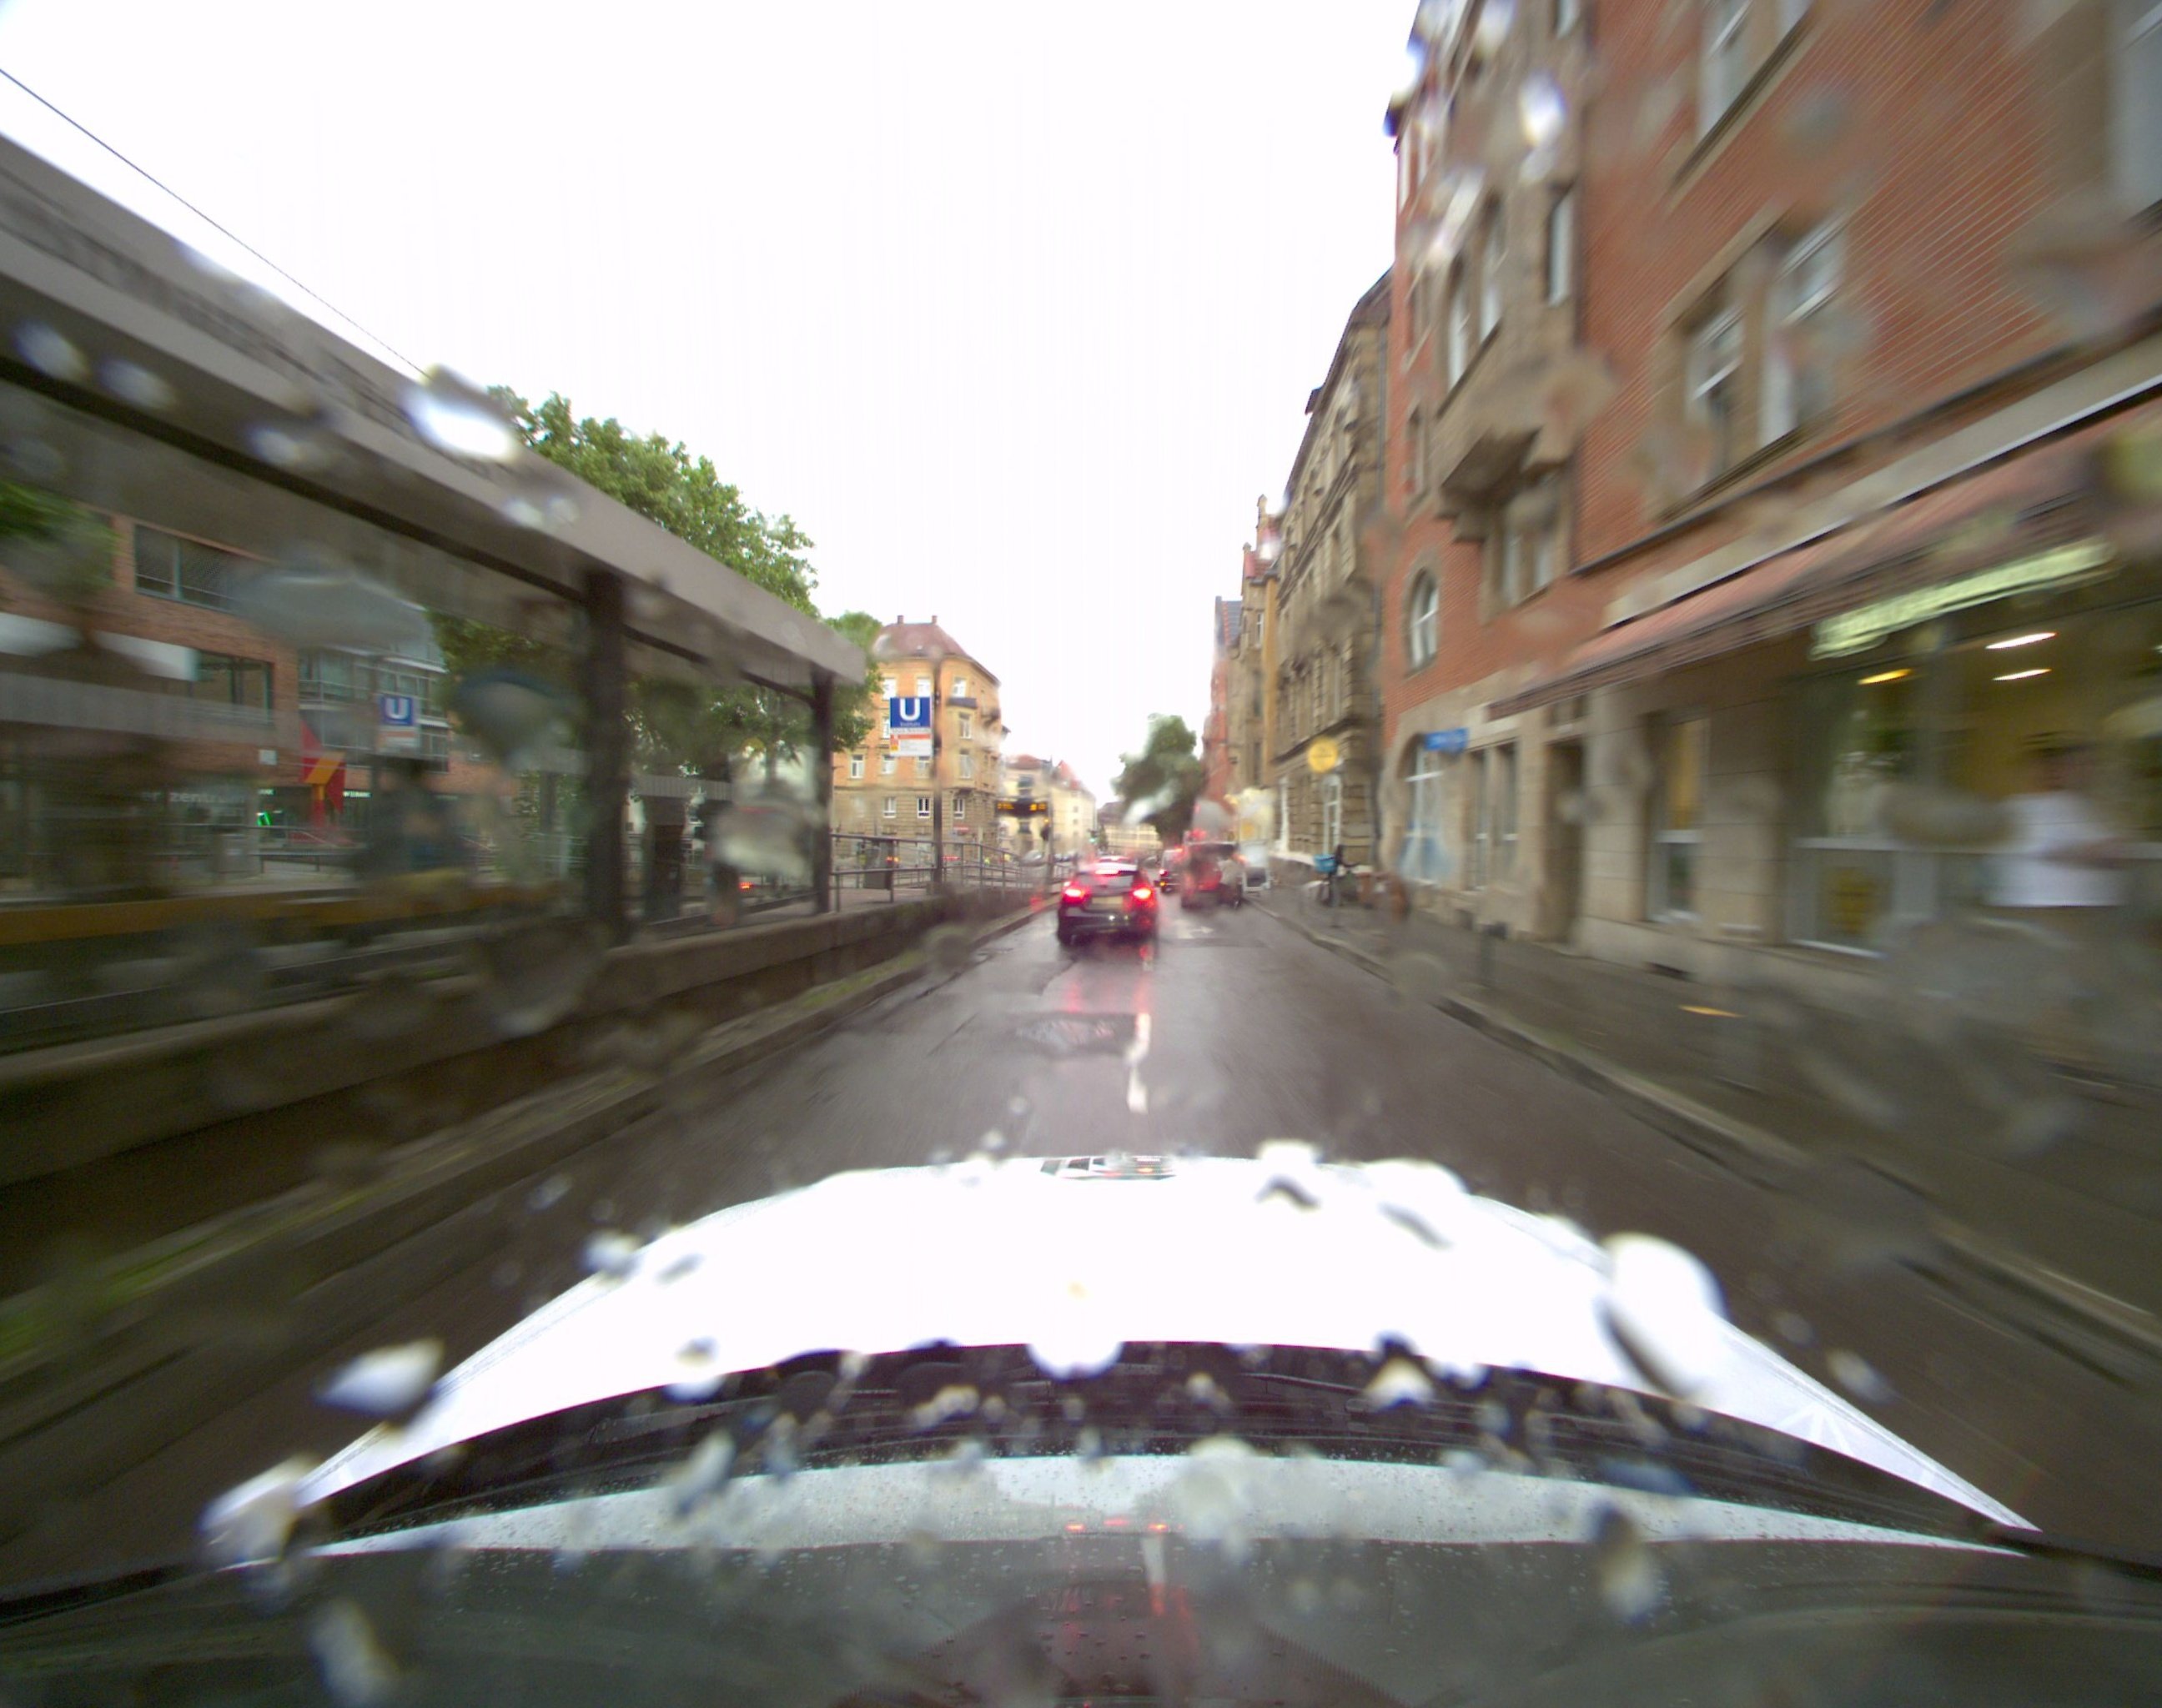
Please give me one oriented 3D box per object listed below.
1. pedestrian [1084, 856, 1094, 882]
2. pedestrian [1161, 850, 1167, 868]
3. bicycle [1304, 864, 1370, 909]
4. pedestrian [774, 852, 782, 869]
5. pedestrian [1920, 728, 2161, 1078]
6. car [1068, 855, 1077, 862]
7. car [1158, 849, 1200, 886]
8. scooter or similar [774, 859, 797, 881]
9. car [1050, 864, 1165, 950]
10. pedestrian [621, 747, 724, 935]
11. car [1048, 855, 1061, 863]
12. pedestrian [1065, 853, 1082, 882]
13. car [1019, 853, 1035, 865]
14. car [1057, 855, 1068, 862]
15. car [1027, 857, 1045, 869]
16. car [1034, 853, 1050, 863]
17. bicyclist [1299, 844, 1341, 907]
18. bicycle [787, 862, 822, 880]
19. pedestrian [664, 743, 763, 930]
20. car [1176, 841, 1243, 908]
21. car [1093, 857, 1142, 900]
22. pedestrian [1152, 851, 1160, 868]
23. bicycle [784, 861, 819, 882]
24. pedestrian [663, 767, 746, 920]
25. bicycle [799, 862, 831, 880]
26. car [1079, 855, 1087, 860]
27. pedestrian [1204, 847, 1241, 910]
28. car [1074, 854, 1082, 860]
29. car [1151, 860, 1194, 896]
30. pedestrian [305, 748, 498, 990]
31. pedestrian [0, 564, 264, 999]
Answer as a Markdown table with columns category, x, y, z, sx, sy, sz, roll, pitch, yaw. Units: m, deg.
| category | x | y | z | sx | sy | sz | roll | pitch | yaw |
| --- | --- | --- | --- | --- | --- | --- | --- | --- | --- |
| pedestrian | 0.469 | 0.899 | 48.147 | 0.530 | 1.530 | 0.436 | 0 | 0 | -3 |
| pedestrian | 7.863 | 0.492 | 76.795 | 0.515 | 1.666 | 0.478 | 1 | 0 | 8 |
| bicycle | 6.726 | 0.835 | 21.371 | 1.688 | 1.115 | 0.462 | -1 | -1 | -18 |
| pedestrian | -28.105 | 0.593 | 75.507 | 0.520 | 1.622 | 0.481 | 1 | 0 | -34 |
| pedestrian | 5.400 | 0.264 | 4.616 | 0.575 | 1.830 | 0.564 | -3 | -2 | 2 |
| car | -1.633 | 0.829 | 154.364 | 1.388 | 1.171 | 3.167 | 0 | 0 | 6 |
| car | 5.154 | 0.681 | 43.456 | 1.925 | 1.831 | 4.284 | 0 | 0 | 3 |
| scooter or similar | -16.279 | 0.859 | 44.864 | 0.357 | 1.195 | 1.119 | 0 | 0 | 44 |
| car | 0.635 | 0.899 | 15.570 | 1.885 | 1.390 | 4.007 | 0 | 0 | 6 |
| pedestrian | -3.573 | -0.111 | 7.147 | 0.610 | 1.581 | 0.508 | 0 | 0 | 8 |
| car | -4.014 | 0.743 | 123.398 | 1.430 | 1.106 | 3.167 | 0 | 0 | 6 |
| pedestrian | -0.441 | 0.797 | 48.466 | 0.744 | 1.724 | 0.732 | 1 | -1 | -38 |
| car | -6.451 | 0.606 | 97.853 | 1.445 | 1.318 | 3.299 | 1 | 0 | 4 |
| car | -3.089 | 0.810 | 136.928 | 1.388 | 1.171 | 3.167 | 0 | 0 | 6 |
| car | -5.810 | 1.142 | 104.736 | 1.778 | 1.530 | 4.467 | 0 | 0 | 4 |
| car | -5.318 | 0.575 | 110.876 | 1.672 | 1.356 | 3.709 | 0 | 0 | 6 |
| bicyclist | 6.387 | 0.568 | 21.768 | 0.849 | 1.657 | 0.628 | -1 | -1 | -17 |
| bicycle | -16.248 | 1.012 | 47.847 | 1.868 | 1.061 | 0.517 | 0 | 0 | -7 |
| pedestrian | -3.453 | -0.162 | 7.689 | 0.610 | 1.688 | 0.588 | 0 | 0 | 9 |
| car | 4.025 | 0.608 | 26.094 | 1.911 | 1.936 | 4.694 | 0 | 0 | 6 |
| car | 1.374 | 0.853 | 30.029 | 1.672 | 1.489 | 3.616 | 0 | 0 | 3 |
| pedestrian | 7.017 | 0.509 | 76.075 | 0.674 | 1.661 | 0.678 | 0 | 0 | 12 |
| bicycle | -16.071 | 0.980 | 46.845 | 1.868 | 1.195 | 0.517 | 0 | 0 | -6 |
| pedestrian | -4.023 | -0.108 | 8.722 | 0.610 | 1.581 | 0.508 | 0 | 0 | 8 |
| bicycle | -16.306 | 1.040 | 49.884 | 1.764 | 1.142 | 0.517 | 0 | 0 | -6 |
| car | 0.397 | 0.733 | 176.104 | 1.388 | 1.171 | 3.167 | 0 | 0 | 6 |
| pedestrian | 4.048 | 0.697 | 23.328 | 0.687 | 1.754 | 0.830 | 0 | -1 | -23 |
| car | -0.606 | 0.598 | 163.564 | 1.388 | 1.171 | 3.167 | 0 | 0 | 6 |
| car | 4.156 | 1.008 | 36.399 | 1.703 | 1.469 | 4.292 | 0 | 0 | 9 |
| pedestrian | -3.657 | 0.074 | 4.411 | 0.610 | 1.227 | 0.508 | 0 | 0 | 8 |
| pedestrian | -3.792 | -0.267 | 3.251 | 0.503 | 1.589 | 0.528 | 0 | 0 | 5 |
